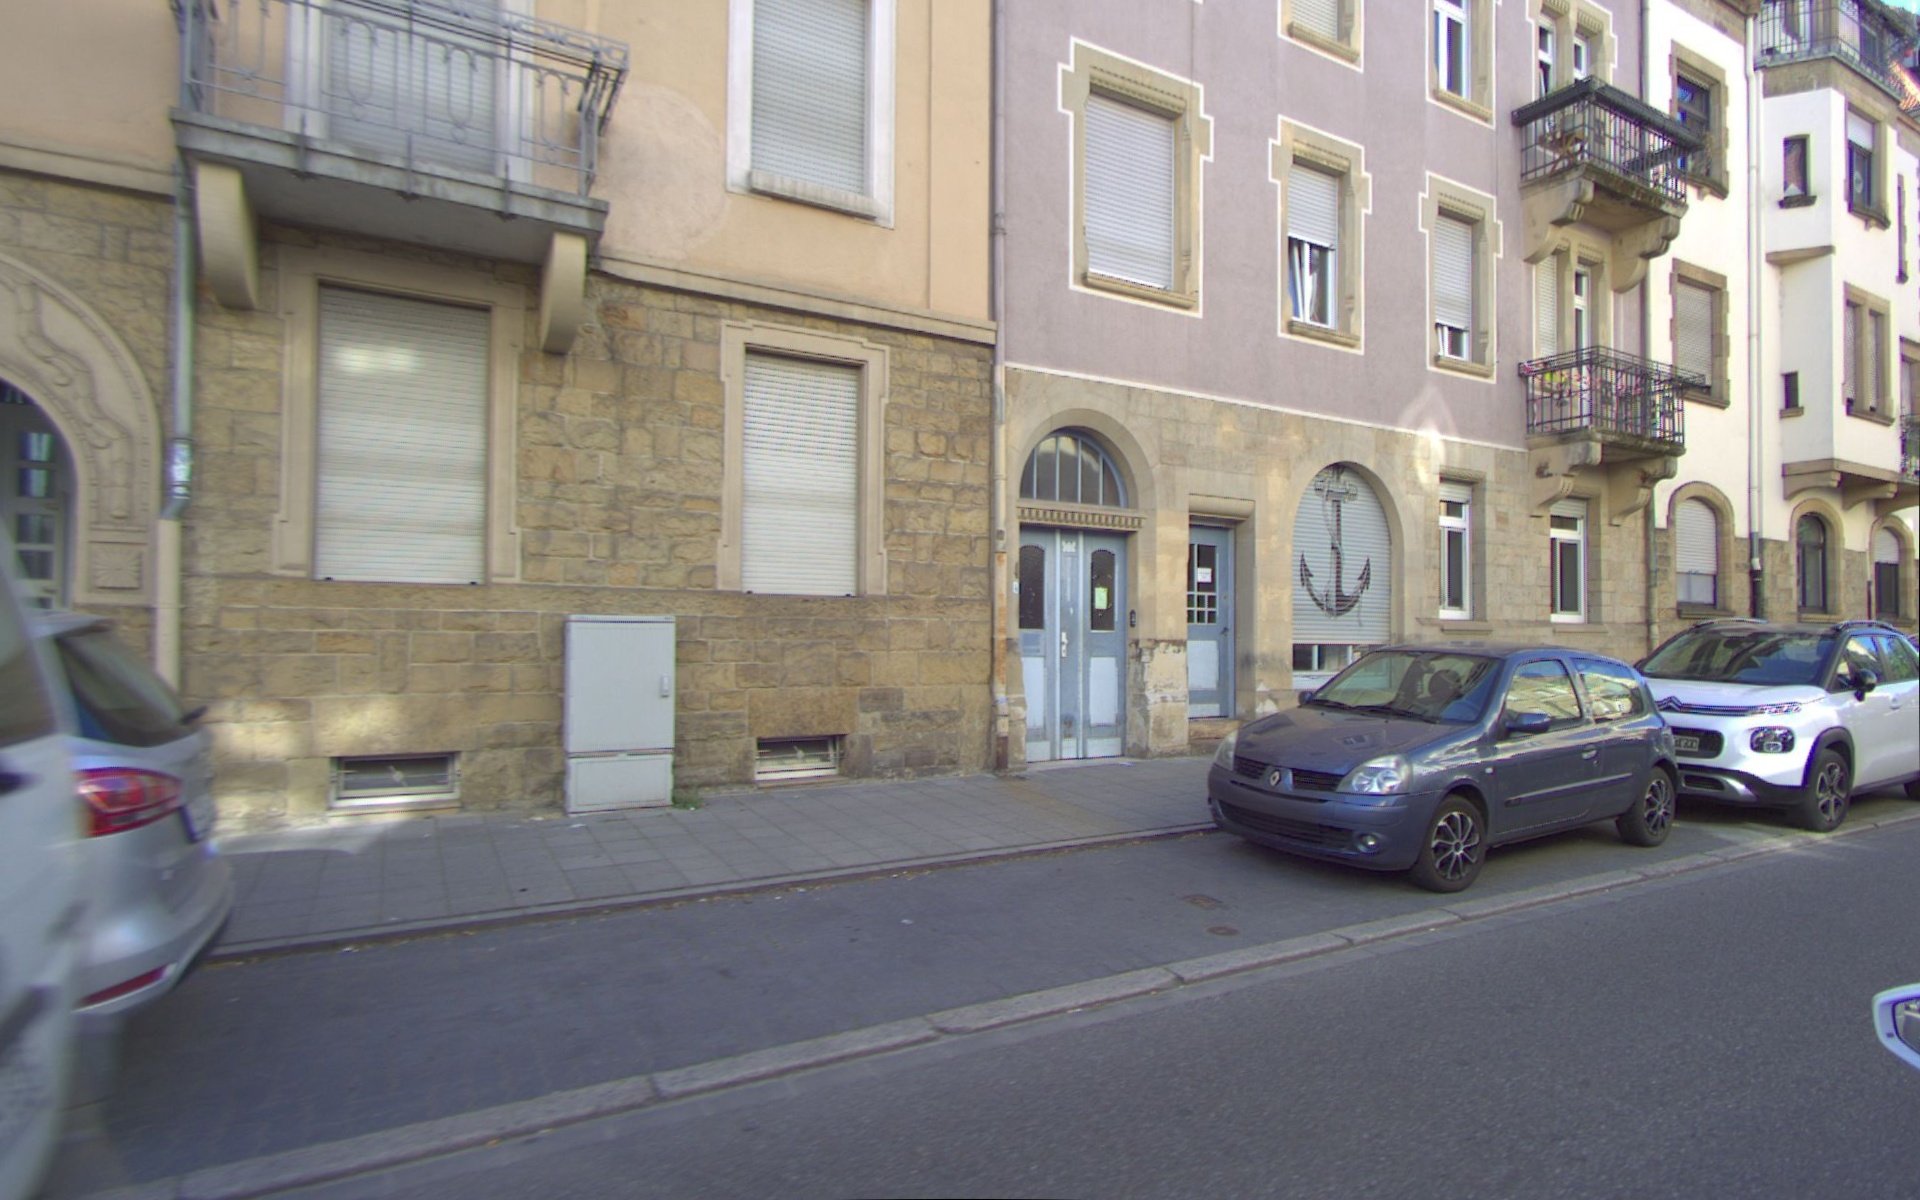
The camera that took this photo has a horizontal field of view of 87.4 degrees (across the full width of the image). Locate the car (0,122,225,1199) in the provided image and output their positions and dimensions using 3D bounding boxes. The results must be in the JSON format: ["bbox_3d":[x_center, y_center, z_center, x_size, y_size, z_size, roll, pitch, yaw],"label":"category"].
[{"bbox_3d":[-3.223,0.484,0.369,4.545,1.962,1.855,1,-2,-30],"label":"car"}]

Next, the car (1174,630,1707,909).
[{"bbox_3d":[3.444,0.966,7.085,3.624,1.412,1.663,1,1,-31],"label":"car"}]

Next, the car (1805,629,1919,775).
[{"bbox_3d":[11.894,1.120,11.827,4.227,1.507,1.567,1,0,-29],"label":"car"}]

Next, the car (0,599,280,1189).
[{"bbox_3d":[-4.121,0.777,2.691,3.681,1.558,1.706,1,-1,-31],"label":"car"}]

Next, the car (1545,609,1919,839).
[{"bbox_3d":[7.258,0.933,9.066,3.975,1.604,1.705,1,1,-31],"label":"car"}]
